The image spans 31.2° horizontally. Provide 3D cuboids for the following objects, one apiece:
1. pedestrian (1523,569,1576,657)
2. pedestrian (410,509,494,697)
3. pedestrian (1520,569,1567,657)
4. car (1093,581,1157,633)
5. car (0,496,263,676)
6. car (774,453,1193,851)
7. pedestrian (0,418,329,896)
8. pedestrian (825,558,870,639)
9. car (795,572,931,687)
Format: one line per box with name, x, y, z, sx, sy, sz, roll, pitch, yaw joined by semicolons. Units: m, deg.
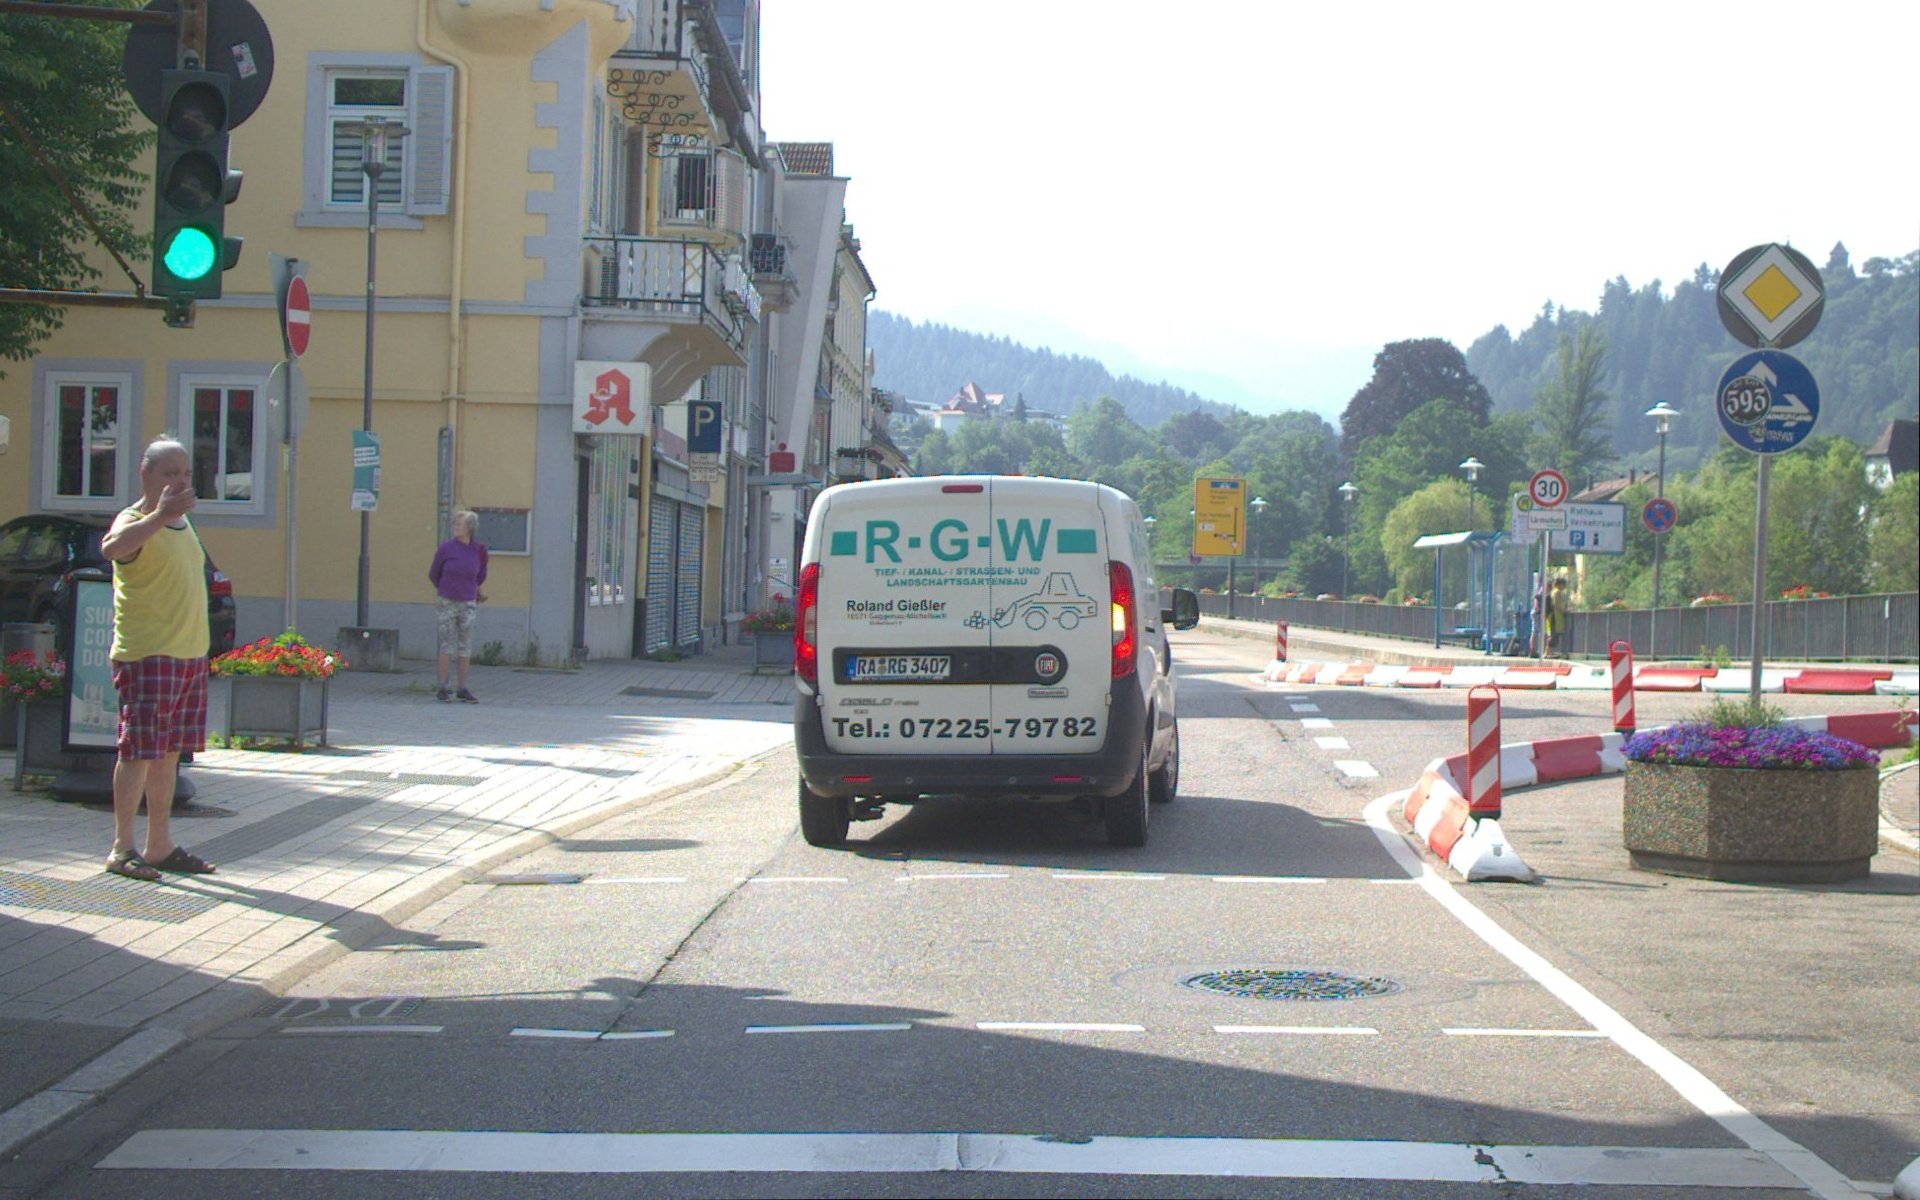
pedestrian;11.496;0.250;67.067;0.867;1.700;0.777;2;0;3
pedestrian;-4.699;0.021;31.828;0.678;1.709;0.617;2;1;-5
pedestrian;11.486;0.246;67.683;0.789;1.700;0.491;2;0;3
car;5.631;0.235;117.575;1.993;1.656;4.000;2;1;1
car;-8.552;-0.177;33.631;1.917;1.537;3.959;2;2;-35
car;0.251;0.212;18.658;1.845;1.899;4.314;0;1;6
pedestrian;-3.372;0.228;14.086;1.019;1.809;0.906;7;0;29
pedestrian;-2.383;-0.036;73.025;0.690;1.691;0.658;1;0;28
car;-1.356;0.400;49.215;1.846;1.563;3.568;1;0;-1
